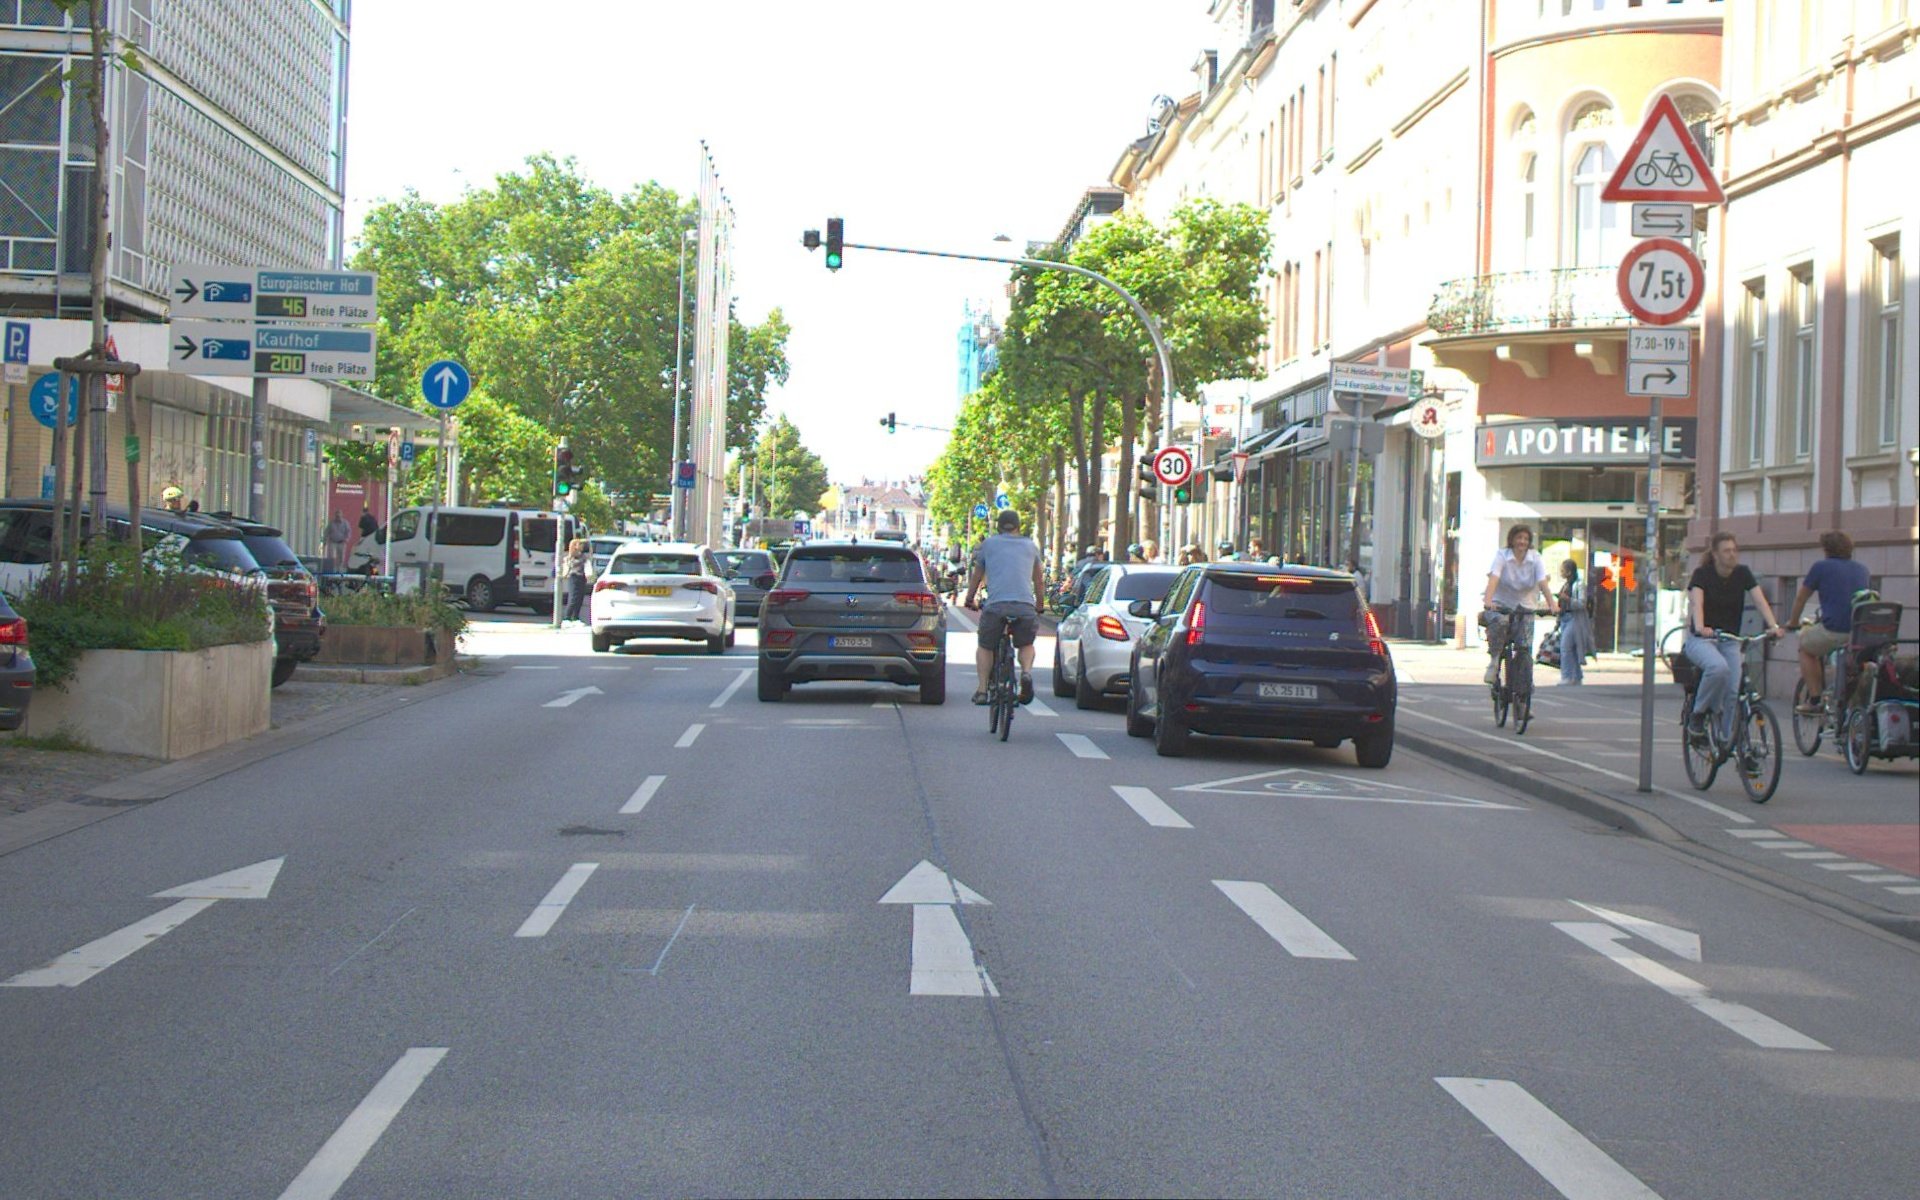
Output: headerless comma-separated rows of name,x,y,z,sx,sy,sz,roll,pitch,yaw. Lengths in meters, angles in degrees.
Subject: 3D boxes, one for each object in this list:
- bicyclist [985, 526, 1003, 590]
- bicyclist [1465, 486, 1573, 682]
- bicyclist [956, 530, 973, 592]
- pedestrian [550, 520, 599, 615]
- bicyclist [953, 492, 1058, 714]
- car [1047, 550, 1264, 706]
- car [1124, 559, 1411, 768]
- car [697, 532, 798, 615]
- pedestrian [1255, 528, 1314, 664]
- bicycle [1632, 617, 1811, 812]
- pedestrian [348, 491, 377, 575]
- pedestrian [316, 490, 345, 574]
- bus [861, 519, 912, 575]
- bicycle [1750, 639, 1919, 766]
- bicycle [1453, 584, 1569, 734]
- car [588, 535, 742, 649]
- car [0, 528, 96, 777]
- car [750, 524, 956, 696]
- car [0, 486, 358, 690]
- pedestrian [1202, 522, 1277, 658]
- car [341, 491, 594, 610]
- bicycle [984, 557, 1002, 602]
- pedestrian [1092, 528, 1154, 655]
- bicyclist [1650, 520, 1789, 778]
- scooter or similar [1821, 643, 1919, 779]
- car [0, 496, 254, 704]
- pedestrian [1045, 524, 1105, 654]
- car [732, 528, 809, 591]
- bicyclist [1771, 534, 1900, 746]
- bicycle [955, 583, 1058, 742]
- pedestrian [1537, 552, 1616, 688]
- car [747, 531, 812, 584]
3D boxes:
bicyclist,0.877,-1.084,88.694,0.419,1.624,0.709,1,1,0
bicyclist,4.943,-0.147,30.447,0.694,1.668,0.835,4,1,0
bicyclist,0.124,-1.023,90.573,0.419,1.624,0.669,1,1,0
pedestrian,-6.631,-0.558,59.164,0.612,1.610,0.550,2,-1,-31
bicyclist,0.352,0.010,27.102,0.694,1.667,0.916,4,2,-1
car,1.870,0.240,33.956,1.822,1.380,4.000,2,1,-1
car,2.341,0.451,26.885,1.822,1.404,3.187,4,1,-1
car,-3.898,-0.508,63.587,1.743,1.436,4.001,1,1,-2
pedestrian,4.611,-0.061,48.961,0.709,1.893,1.152,2,1,2
bicycle,5.000,0.727,22.702,0.555,1.116,2.243,4,1,-1
pedestrian,-14.492,-1.620,83.381,0.623,2.007,0.572,1,1,-7
pedestrian,-15.246,-1.642,83.256,0.623,2.007,0.572,1,1,-7
bus,-4.976,-3.584,229.932,2.769,3.593,8.975,1,1,-5
bicycle,6.714,0.771,26.494,0.740,0.876,2.138,1,1,0
bicycle,4.847,0.496,30.363,0.555,1.205,2.243,2,1,-1
car,-3.954,-0.083,46.564,1.863,1.436,4.000,1,-1,-2
car,-7.475,0.111,21.559,3.996,1.454,1.666,7,1,35
car,-1.037,0.096,33.499,1.833,1.522,4.000,2,0,-2
car,-7.782,-0.163,32.036,3.986,1.540,1.717,6,1,-3
pedestrian,3.774,-0.137,46.436,0.652,1.803,0.729,1,1,-37
car,-9.394,-0.955,65.448,4.720,1.997,1.937,3,-1,39
bicycle,0.849,-0.531,88.629,0.419,1.131,1.910,1,1,0
pedestrian,2.348,-0.133,49.546,0.727,1.803,0.653,1,1,16
bicyclist,5.041,0.331,22.842,0.694,1.668,0.835,2,-2,-1
scooter or similar,6.809,0.798,24.856,0.853,0.916,1.164,1,1,0
car,-8.075,-0.113,28.598,3.986,1.495,1.717,6,1,-3
pedestrian,1.630,-0.163,48.635,0.727,1.803,0.654,1,1,9
car,-4.547,-0.997,82.708,1.743,1.436,4.001,1,1,-2
bicyclist,6.740,0.293,26.503,0.709,1.589,0.963,1,1,0
bicycle,0.351,0.472,27.238,0.664,1.116,2.243,4,1,-1
pedestrian,7.903,0.246,44.123,0.791,1.714,0.730,1,1,-6
car,-5.067,-1.209,97.014,1.743,1.436,4.001,1,1,-2
